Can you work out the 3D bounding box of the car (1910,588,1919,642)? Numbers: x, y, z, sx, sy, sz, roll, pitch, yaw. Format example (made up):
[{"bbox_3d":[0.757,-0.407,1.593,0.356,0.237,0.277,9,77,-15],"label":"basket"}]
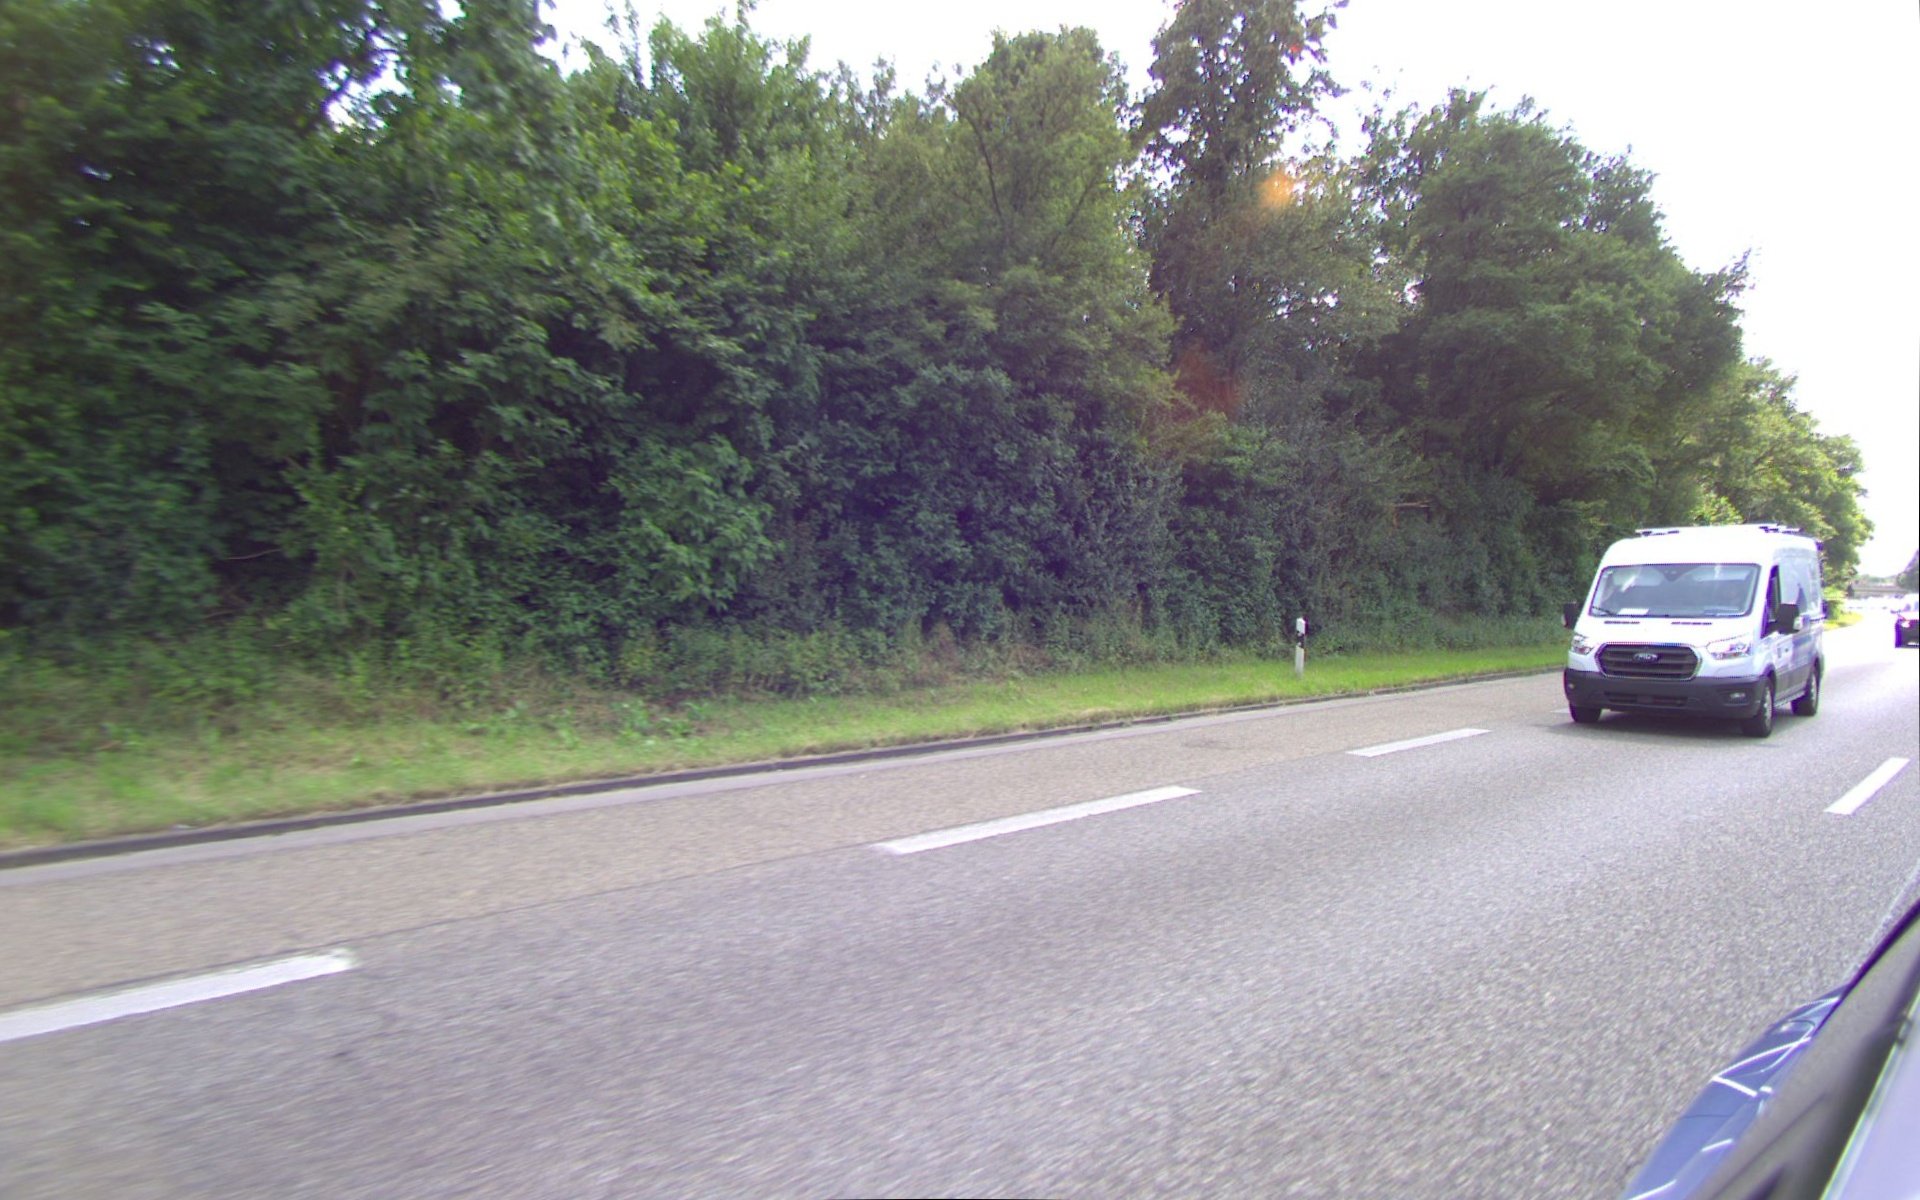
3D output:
[{"bbox_3d":[34.533,0.492,35.166,4.320,1.828,1.906,0,-1,-43],"label":"car"}]

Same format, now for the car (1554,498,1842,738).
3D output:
[{"bbox_3d":[9.808,0.189,13.261,5.190,2.539,2.101,0,-1,-43],"label":"car"}]

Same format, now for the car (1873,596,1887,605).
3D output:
[{"bbox_3d":[160.184,0.055,176.175,1.780,1.540,3.939,1,1,42],"label":"car"}]
